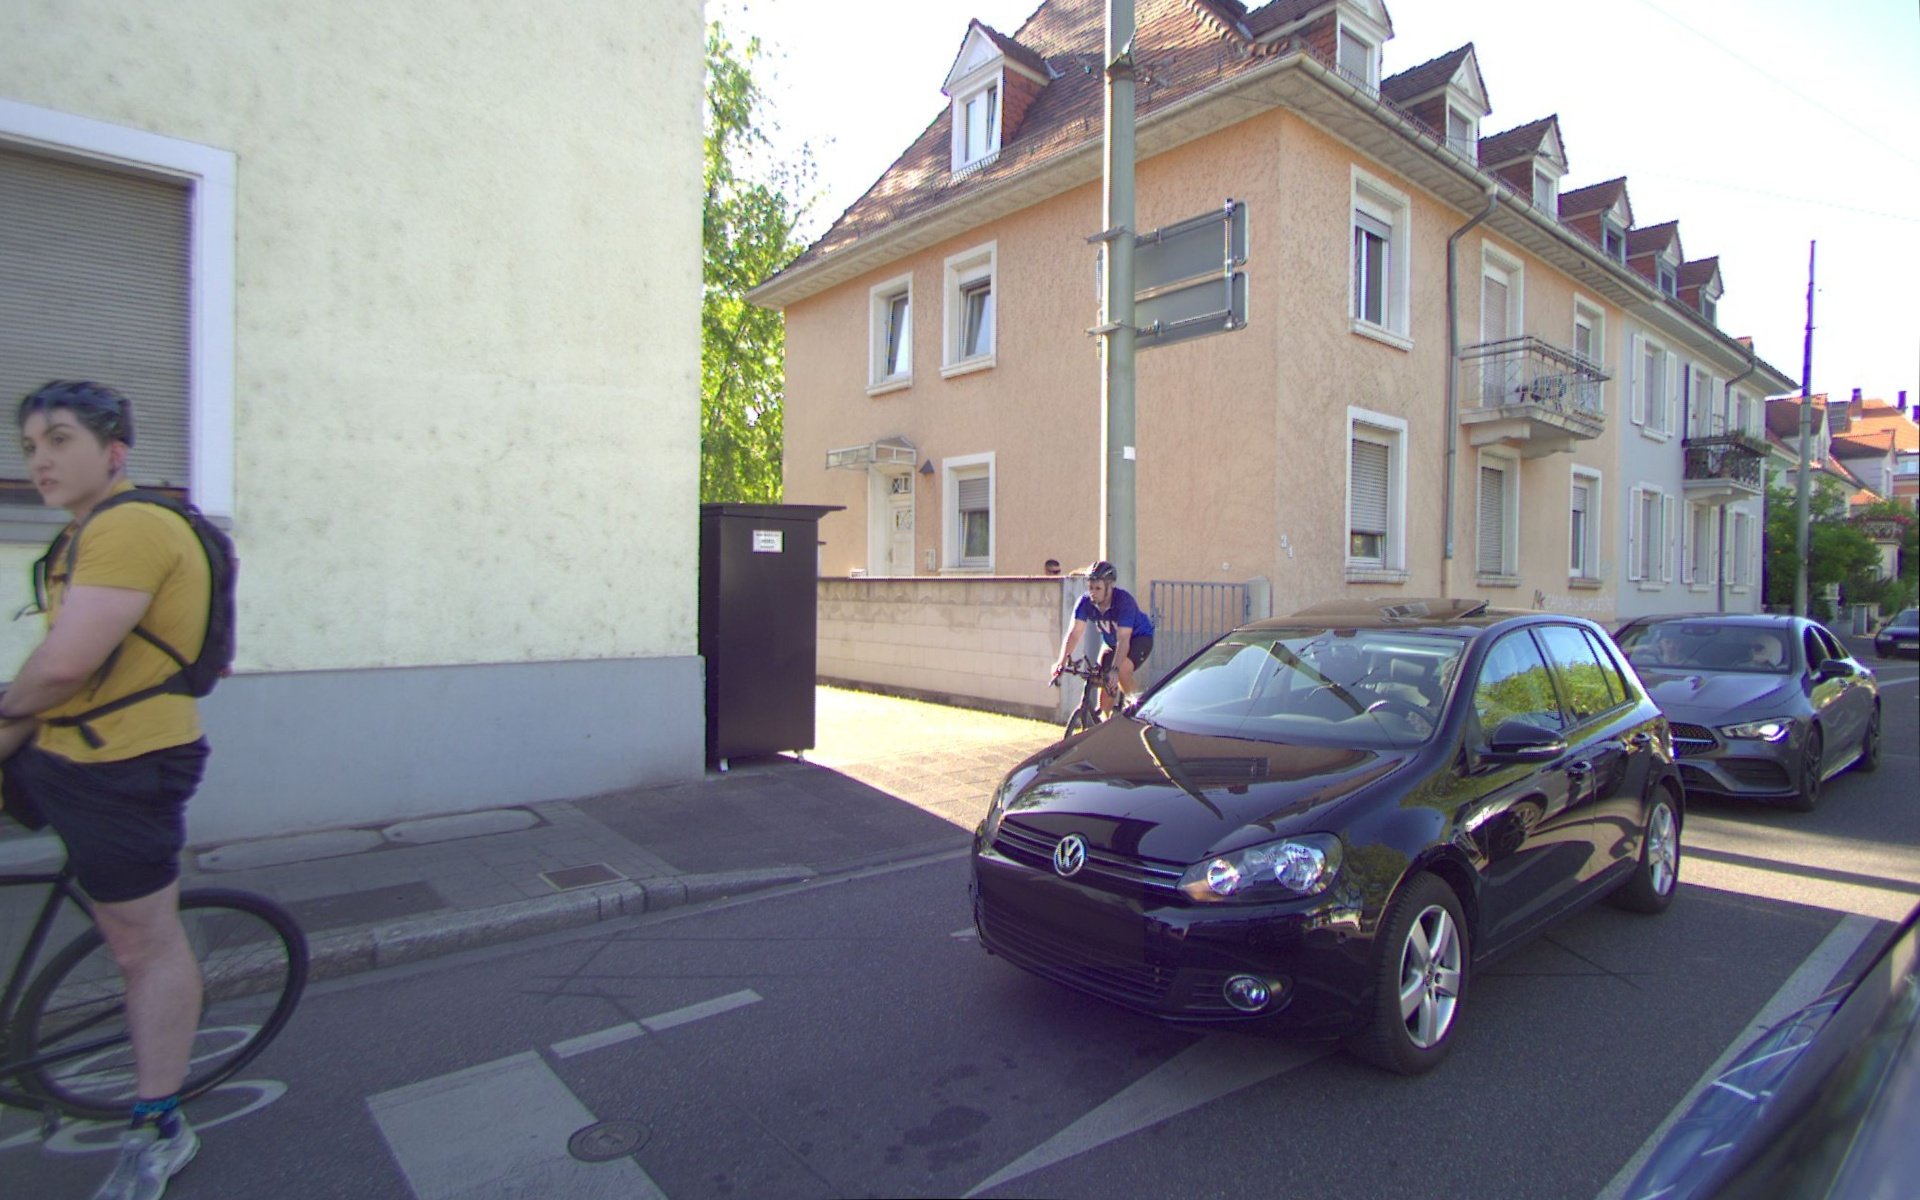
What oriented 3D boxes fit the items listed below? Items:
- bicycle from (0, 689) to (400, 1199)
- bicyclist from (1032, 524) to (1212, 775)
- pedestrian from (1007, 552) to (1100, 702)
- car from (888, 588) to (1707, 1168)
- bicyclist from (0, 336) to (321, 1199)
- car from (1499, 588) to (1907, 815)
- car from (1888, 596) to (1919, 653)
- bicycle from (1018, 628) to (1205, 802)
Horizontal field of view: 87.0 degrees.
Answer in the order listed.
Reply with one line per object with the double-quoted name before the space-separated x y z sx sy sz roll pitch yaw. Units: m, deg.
"bicycle" -2.426 0.861 2.443 0.777 1.120 1.720 0 0 36
"bicyclist" 1.209 0.318 7.622 1.018 1.714 0.718 6 4 42
"pedestrian" 1.073 0.287 11.708 0.600 1.624 0.760 0 6 -43
"car" 1.759 0.684 4.508 3.921 1.456 1.716 -1 0 -41
"bicyclist" -2.210 0.433 2.557 0.777 1.991 0.768 0 0 36
"car" 6.467 0.665 8.606 4.410 1.449 1.824 1 0 -40
"car" 26.751 0.625 27.436 4.258 1.448 1.824 -1 0 -40
"bicycle" 1.181 0.805 7.651 0.554 1.088 1.601 6 4 42
